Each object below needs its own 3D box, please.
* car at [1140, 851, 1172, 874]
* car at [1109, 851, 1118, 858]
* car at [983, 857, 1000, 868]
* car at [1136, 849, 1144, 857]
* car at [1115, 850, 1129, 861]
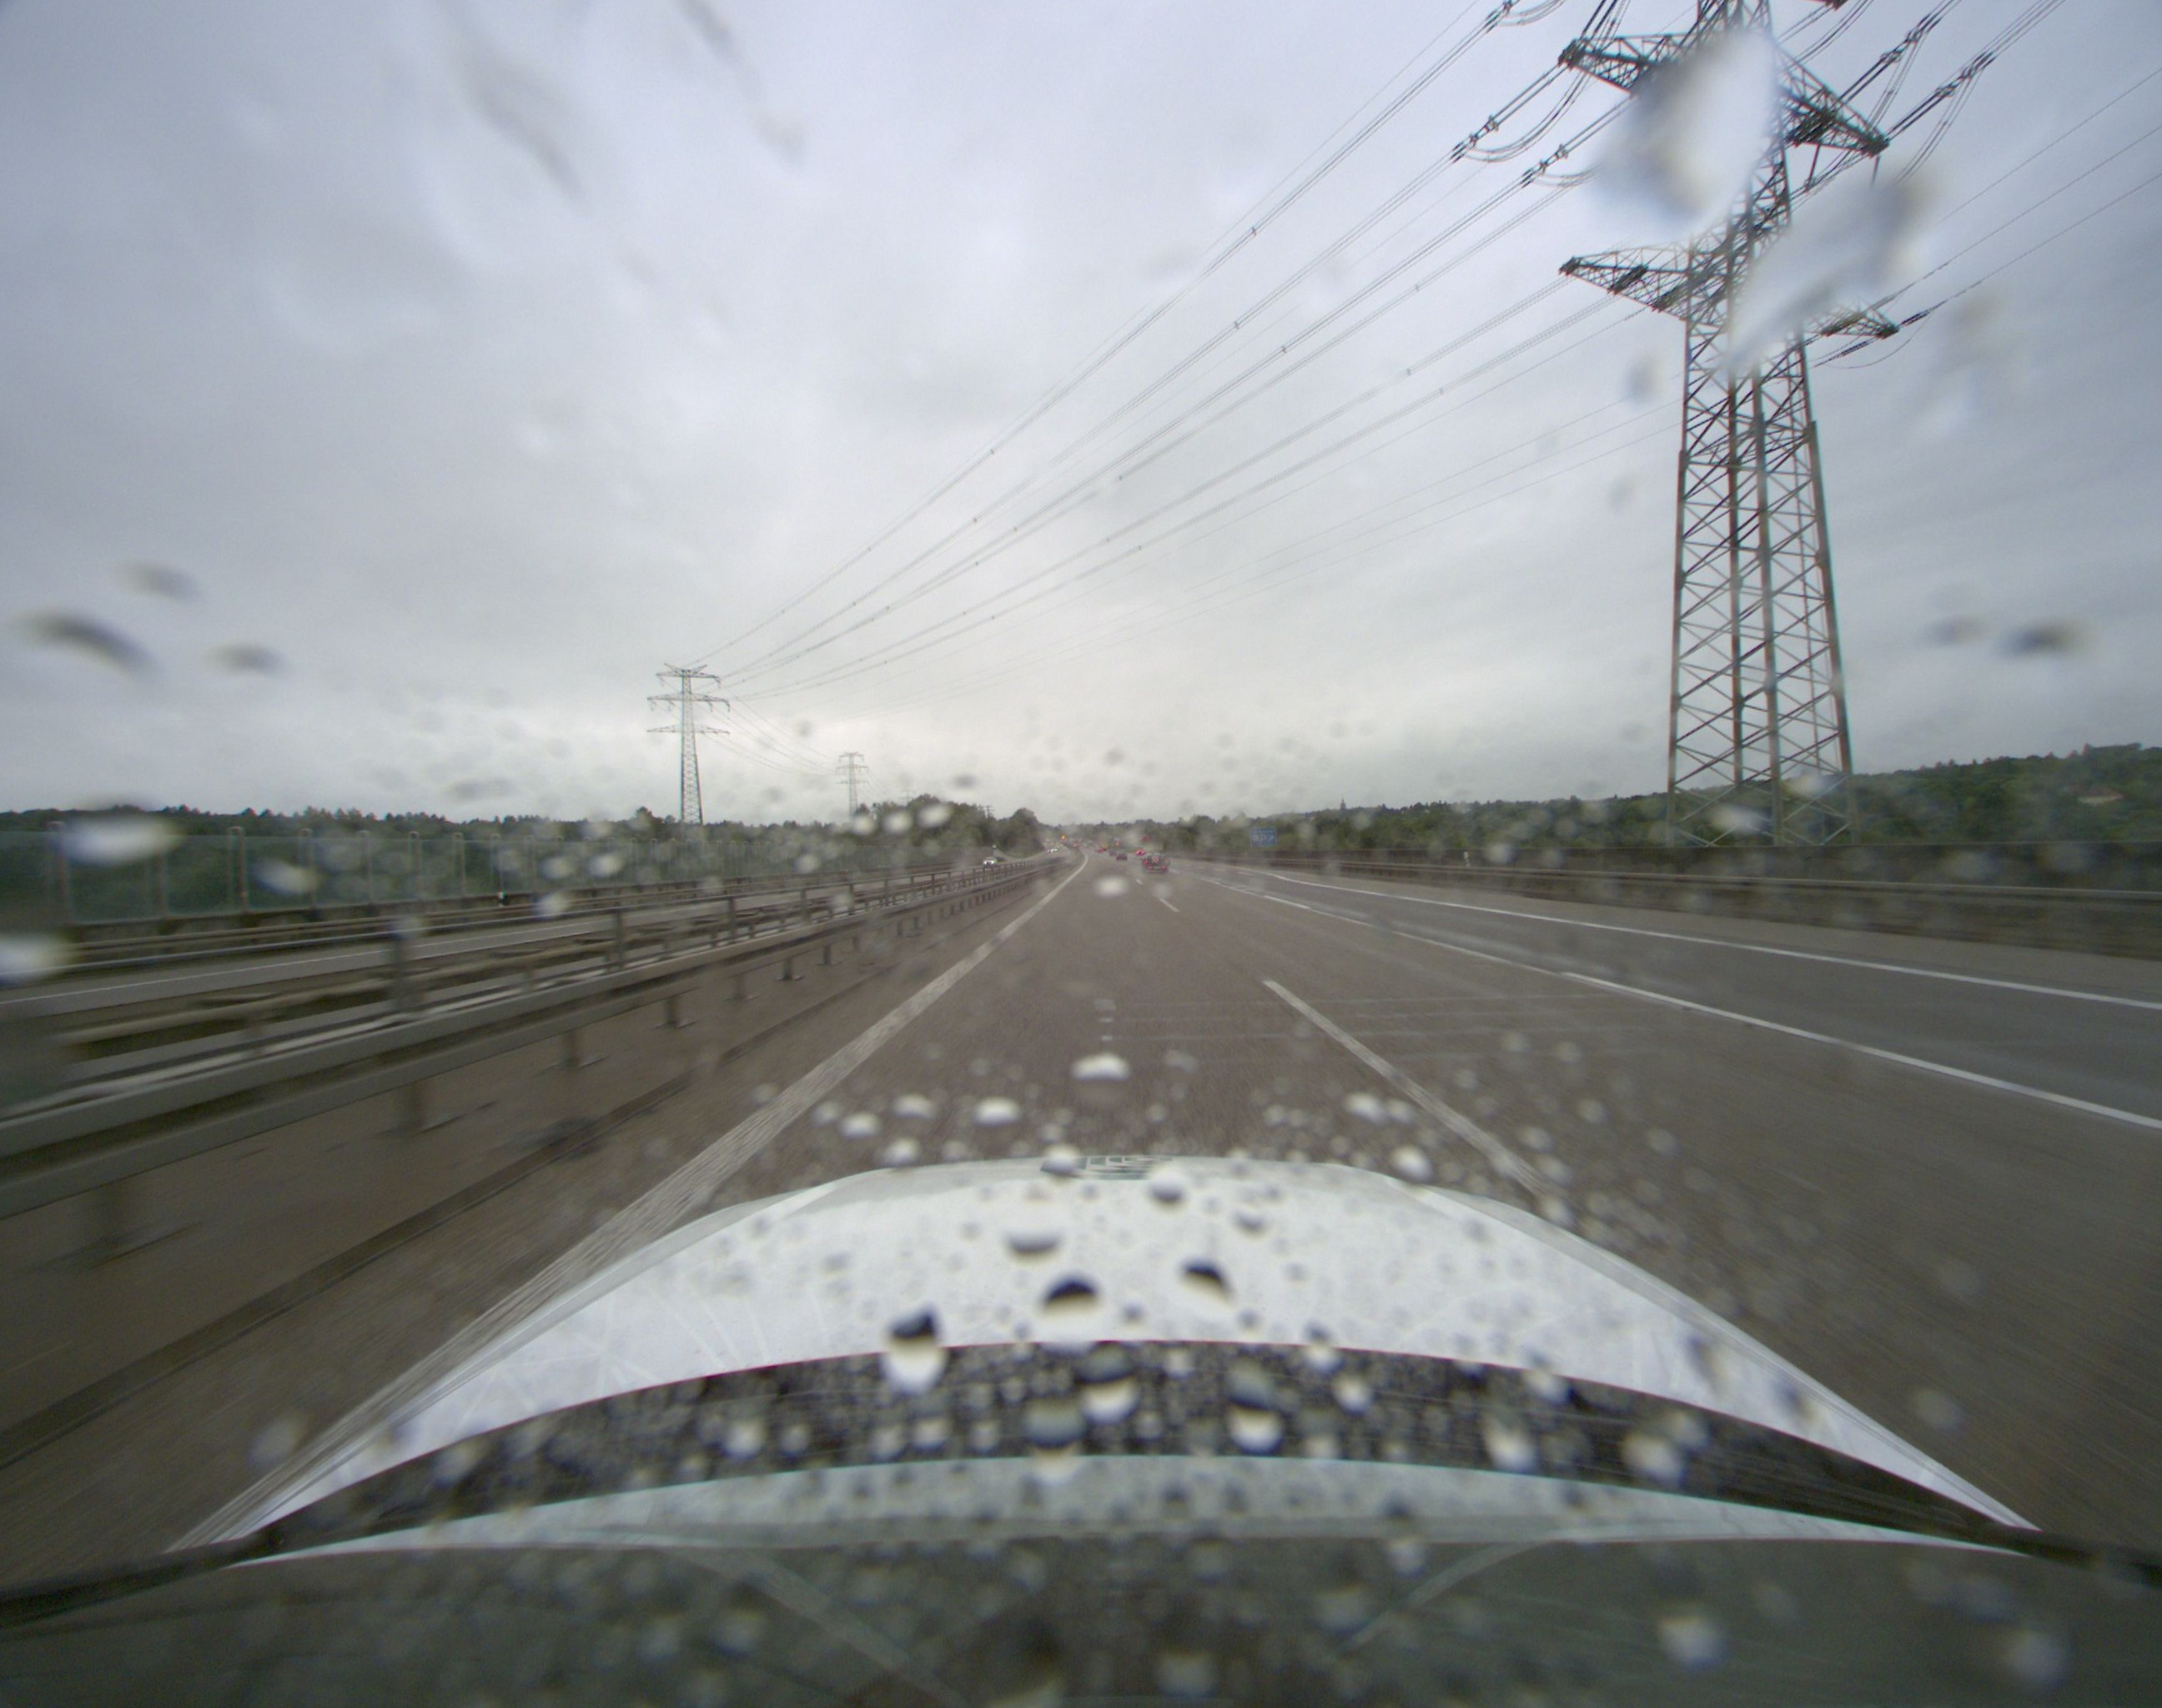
[{"bbox_3d":[5.552,0.612,60.780,2.050,1.671,5.524,-1,0,2],"label":"car"},{"bbox_3d":[7.791,0.132,195.112,1.988,1.628,3.998,-3,1,-1],"label":"car"},{"bbox_3d":[-13.945,1.319,126.724,1.986,1.629,4.714,-2,0,1],"label":"car"},{"bbox_3d":[14.796,-0.259,203.346,1.913,1.709,4.006,-3,1,5],"label":"car"},{"bbox_3d":[6.823,0.284,137.210,1.988,1.760,3.998,-3,1,-1],"label":"car"}]
